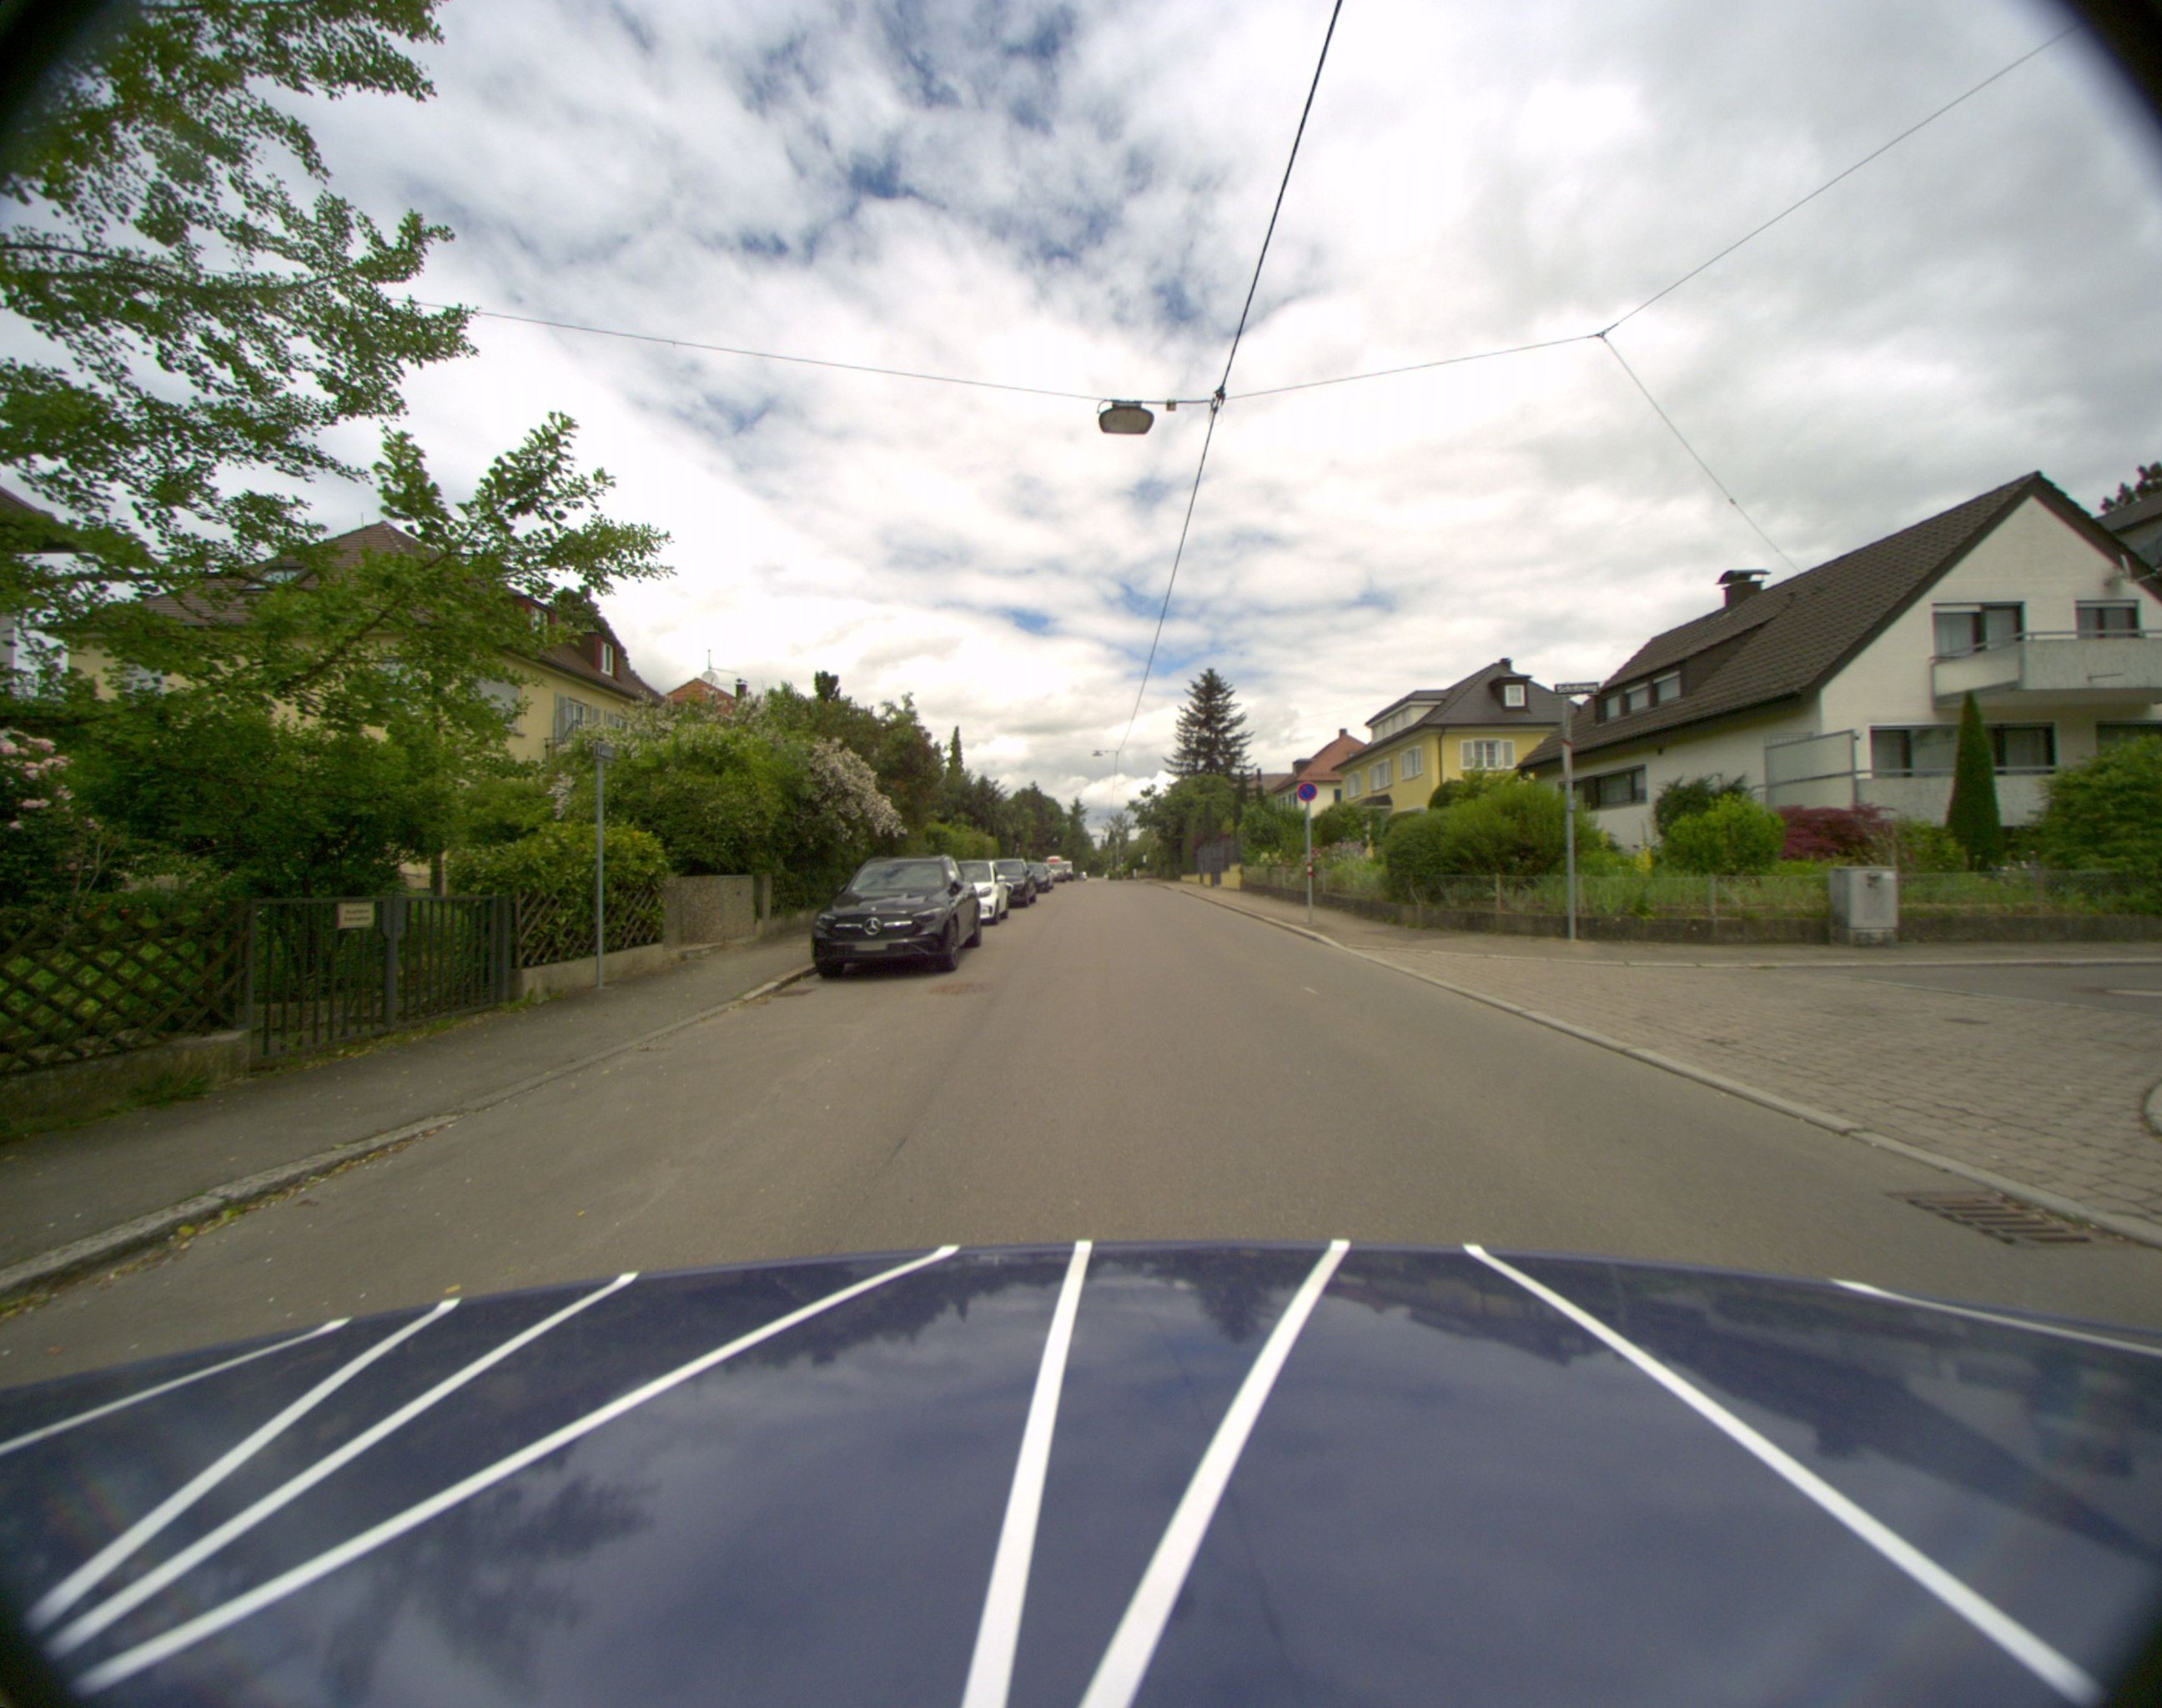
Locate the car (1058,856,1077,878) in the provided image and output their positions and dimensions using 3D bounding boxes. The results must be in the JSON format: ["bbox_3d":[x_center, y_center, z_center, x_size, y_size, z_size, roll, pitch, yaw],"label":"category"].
[{"bbox_3d":[-1.416,1.359,81.801,1.854,2.210,5.368,-2,-1,-1],"label":"car"}]

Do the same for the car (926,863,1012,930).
[{"bbox_3d":[-2.694,0.993,18.892,1.602,1.501,3.014,0,-1,2],"label":"car"}]

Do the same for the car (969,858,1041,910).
[{"bbox_3d":[-2.468,0.956,25.615,1.805,1.582,4.141,0,0,2],"label":"car"}]

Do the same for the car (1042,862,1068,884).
[{"bbox_3d":[-2.048,1.551,61.097,1.878,1.622,4.127,-1,-2,0],"label":"car"}]

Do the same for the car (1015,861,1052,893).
[{"bbox_3d":[-2.283,1.091,37.480,1.721,1.451,4.140,0,-1,-2],"label":"car"}]

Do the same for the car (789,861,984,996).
[{"bbox_3d":[-2.769,0.969,11.926,1.955,1.617,4.375,-2,0,-1],"label":"car"}]

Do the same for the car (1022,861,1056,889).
[{"bbox_3d":[-2.275,1.147,42.300,1.761,1.468,4.358,0,-1,-1],"label":"car"}]
